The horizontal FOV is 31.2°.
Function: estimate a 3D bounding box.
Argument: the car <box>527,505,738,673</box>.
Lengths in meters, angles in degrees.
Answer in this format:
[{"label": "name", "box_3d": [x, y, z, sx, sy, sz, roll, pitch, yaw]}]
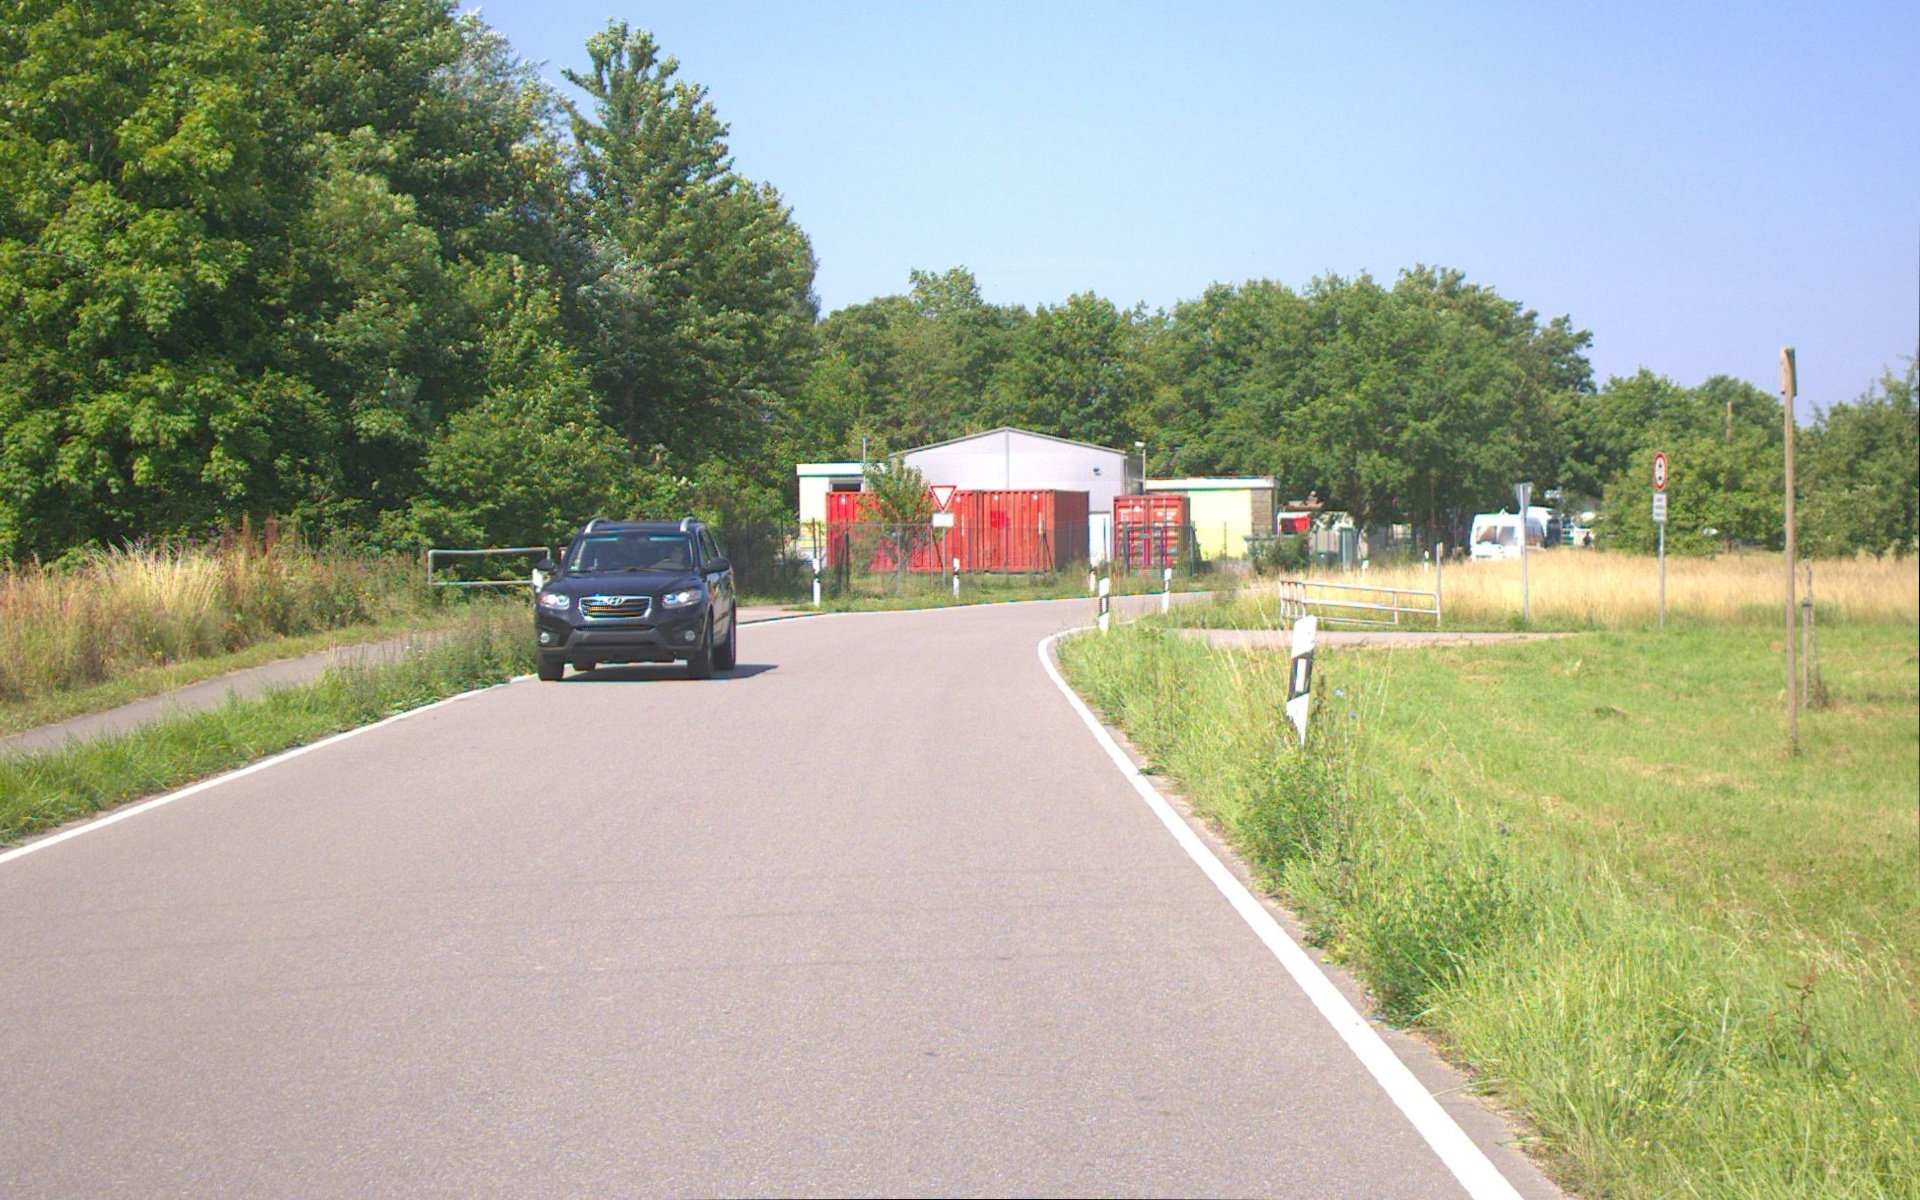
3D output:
[{"label": "car", "box_3d": [-3.605, -0.160, 38.542, 1.865, 1.747, 4.297, -1, 1, 1]}]

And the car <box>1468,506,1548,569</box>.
[{"label": "car", "box_3d": [20.180, -2.323, 126.444, 1.995, 2.258, 4.721, 0, 1, 20]}]
